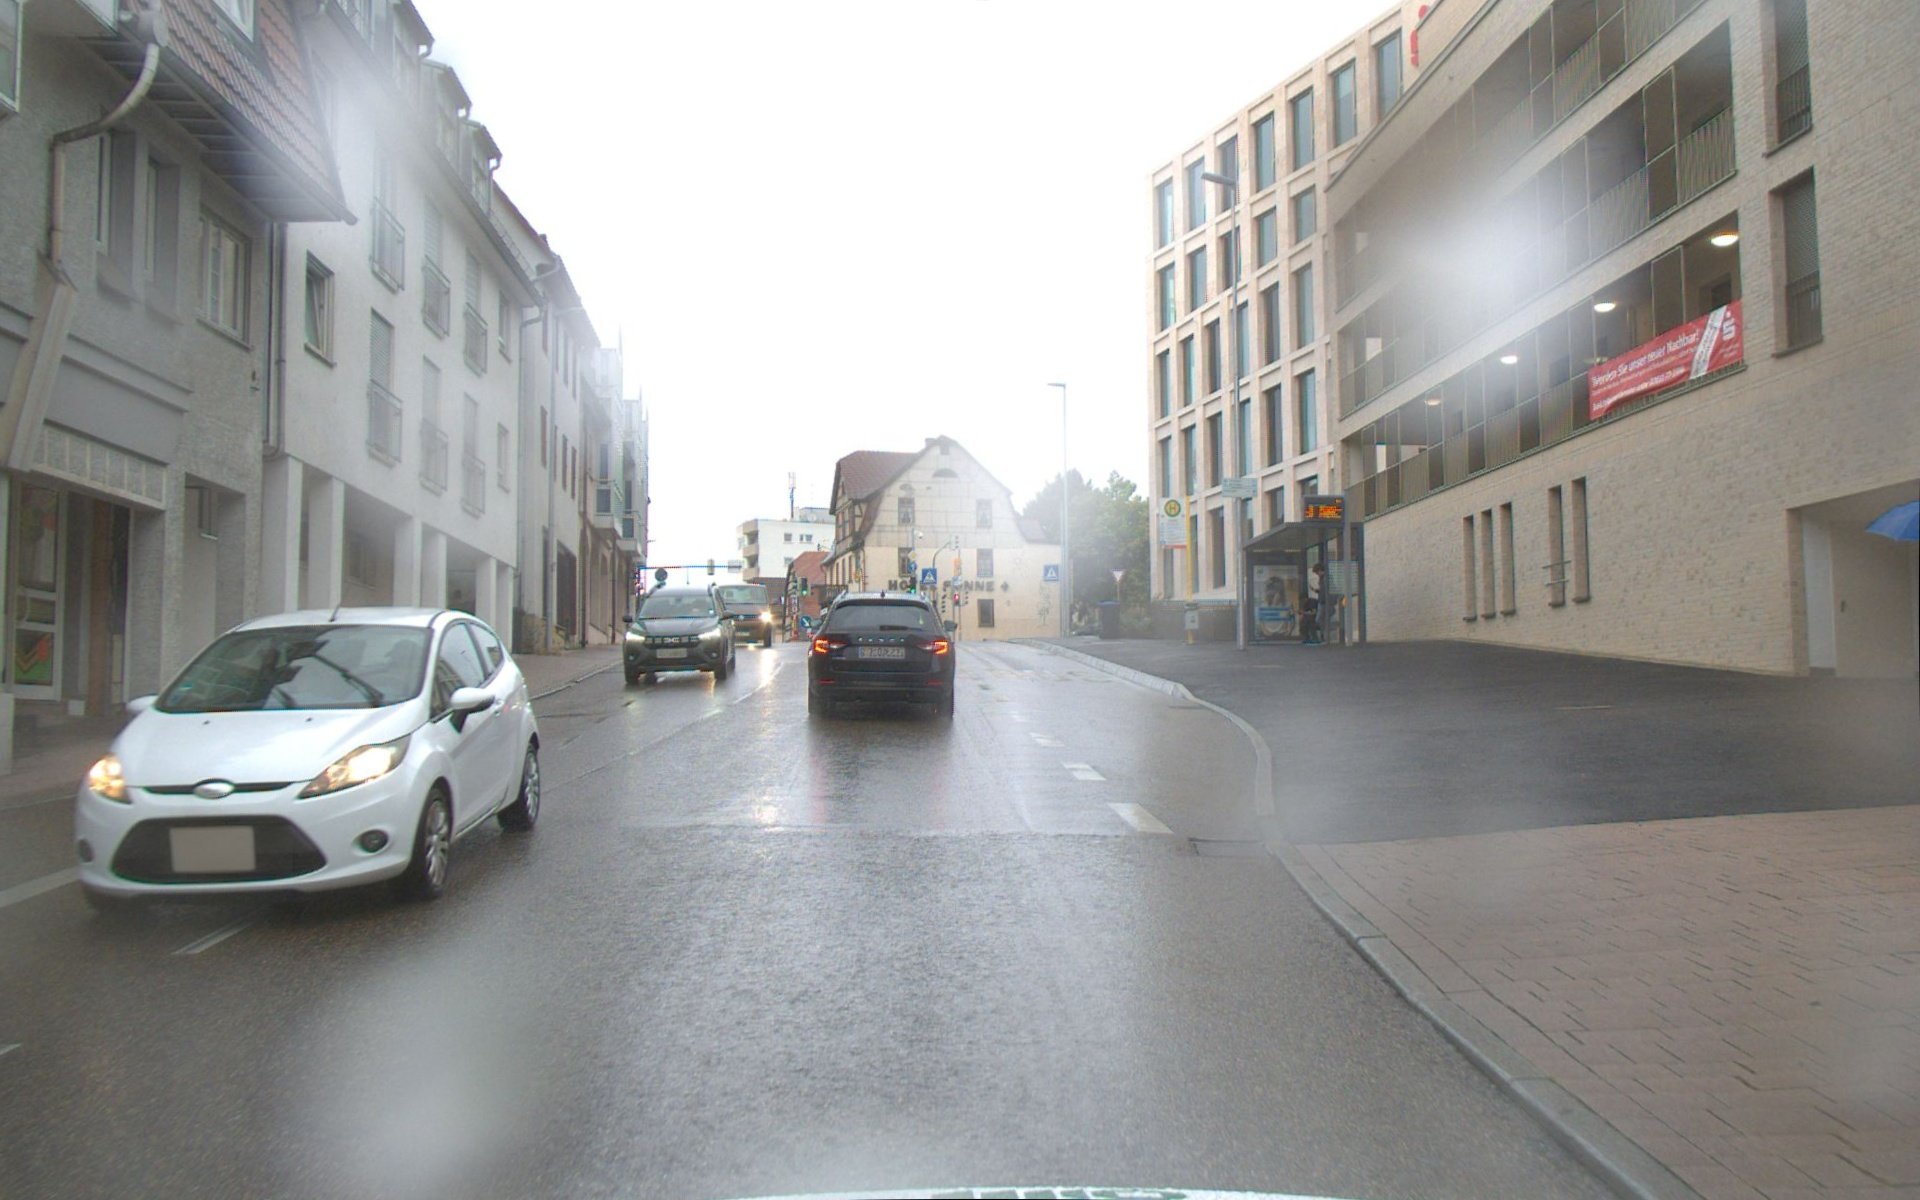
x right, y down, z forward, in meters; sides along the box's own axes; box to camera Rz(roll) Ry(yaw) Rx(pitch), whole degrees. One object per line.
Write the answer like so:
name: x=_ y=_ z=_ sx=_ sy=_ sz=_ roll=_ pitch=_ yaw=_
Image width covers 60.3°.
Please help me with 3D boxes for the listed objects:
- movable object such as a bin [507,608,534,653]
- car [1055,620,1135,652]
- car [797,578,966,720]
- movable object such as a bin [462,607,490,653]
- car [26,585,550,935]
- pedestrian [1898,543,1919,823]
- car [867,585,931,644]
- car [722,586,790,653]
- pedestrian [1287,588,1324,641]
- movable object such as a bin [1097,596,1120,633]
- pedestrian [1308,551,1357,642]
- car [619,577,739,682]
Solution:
movable object such as a bin: x=-9.980 y=0.689 z=37.549 sx=0.498 sy=1.024 sz=0.584 roll=0 pitch=0 yaw=-5
car: x=7.873 y=2.102 z=96.687 sx=4.235 sy=1.531 sz=1.769 roll=-2 pitch=-5 yaw=-18
car: x=-1.044 y=0.548 z=20.943 sx=1.906 sy=1.594 sz=4.413 roll=0 pitch=0 yaw=-4
movable object such as a bin: x=-10.923 y=0.678 z=37.341 sx=0.498 sy=1.024 sz=0.584 roll=0 pitch=0 yaw=-5
car: x=-3.449 y=0.706 z=9.208 sx=1.644 sy=1.536 sz=3.586 roll=-1 pitch=0 yaw=-4
pedestrian: x=5.693 y=0.444 z=8.808 sx=0.720 sy=1.569 sz=1.038 roll=-4 pitch=0 yaw=1
car: x=-1.720 y=0.385 z=45.927 sx=1.644 sy=1.536 sz=3.586 roll=-1 pitch=0 yaw=-4
car: x=-6.380 y=0.594 z=52.189 sx=1.894 sy=1.941 sz=5.037 roll=-2 pitch=0 yaw=-5
pedestrian: x=7.987 y=0.328 z=38.267 sx=0.658 sy=1.182 sz=0.635 roll=-2 pitch=0 yaw=-1
movable object such as a bin: x=4.423 y=0.441 z=49.201 sx=0.583 sy=1.081 sz=0.578 roll=-1 pitch=0 yaw=-2
pedestrian: x=8.303 y=-0.075 z=36.903 sx=0.766 sy=1.974 sz=1.021 roll=-2 pitch=0 yaw=-1
car: x=-4.966 y=0.491 z=29.739 sx=1.747 sy=1.723 sz=4.455 roll=-1 pitch=0 yaw=-5
